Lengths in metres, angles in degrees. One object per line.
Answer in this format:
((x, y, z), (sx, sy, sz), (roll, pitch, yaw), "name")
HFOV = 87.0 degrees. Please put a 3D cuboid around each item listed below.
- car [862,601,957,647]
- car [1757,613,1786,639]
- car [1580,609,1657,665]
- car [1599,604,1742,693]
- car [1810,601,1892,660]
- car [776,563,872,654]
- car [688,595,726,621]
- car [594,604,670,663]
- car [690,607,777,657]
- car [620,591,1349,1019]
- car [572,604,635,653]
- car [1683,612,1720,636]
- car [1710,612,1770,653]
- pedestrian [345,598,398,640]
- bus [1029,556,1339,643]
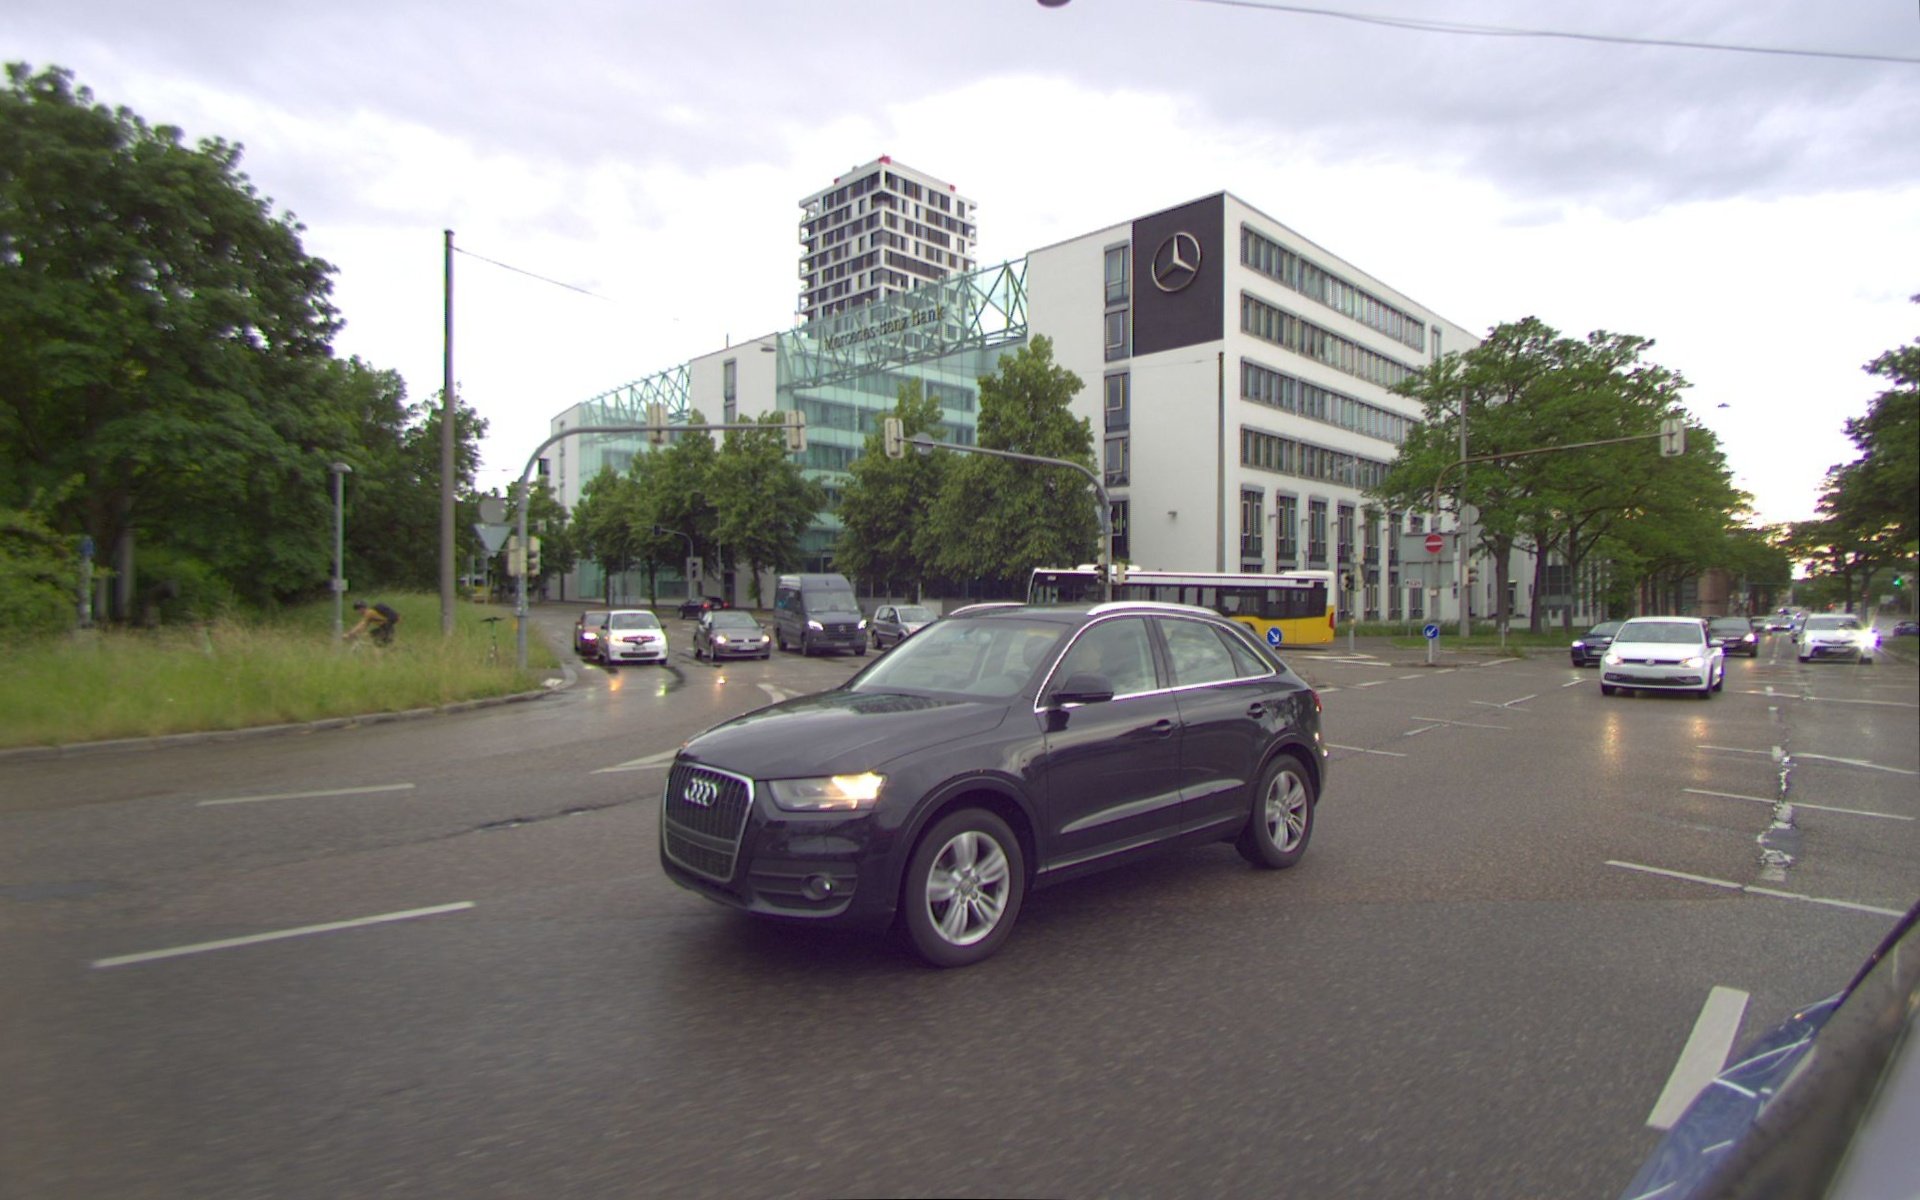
((-1.778, 0.753, 33.997), (1.695, 1.433, 4.125), (0, 0, -26), "car")
((67.432, 2.147, 84.054), (1.607, 2.039, 3.576), (0, 0, 43), "car")
((19.192, 1.024, 29.517), (1.748, 1.416, 3.952), (0, 0, 33), "car")
((13.555, 0.840, 19.219), (1.724, 1.491, 4.199), (-2, -1, 42), "car")
((28.449, 0.931, 32.405), (1.820, 1.603, 4.236), (-2, 0, 40), "car")
((-4.486, 0.254, 32.764), (1.889, 2.699, 4.814), (0, 0, -22), "car")
((-16.266, 0.496, 64.985), (1.808, 1.585, 4.174), (0, 0, -22), "car")
((-9.691, 0.926, 29.708), (1.808, 1.585, 4.174), (0, 0, -22), "car")
((-7.129, 0.933, 31.476), (1.889, 1.414, 4.564), (0, 0, -22), "car")
((0.385, 0.739, 5.738), (4.055, 1.553, 1.728), (-1, 1, -41), "car")
((-12.267, 0.924, 34.692), (1.808, 1.585, 4.174), (0, 0, -22), "car")
((50.789, 1.629, 69.318), (1.607, 1.532, 3.576), (0, 0, 43), "car")
((29.438, 1.179, 38.147), (1.564, 1.433, 3.822), (-1, 0, 41), "car")
((-11.923, 0.375, 20.520), (0.840, 0.836, 0.590), (0, 0, -41), "pedestrian")
((8.638, -0.007, 40.003), (11.667, 3.241, 1.992), (0, 0, 14), "bus")
